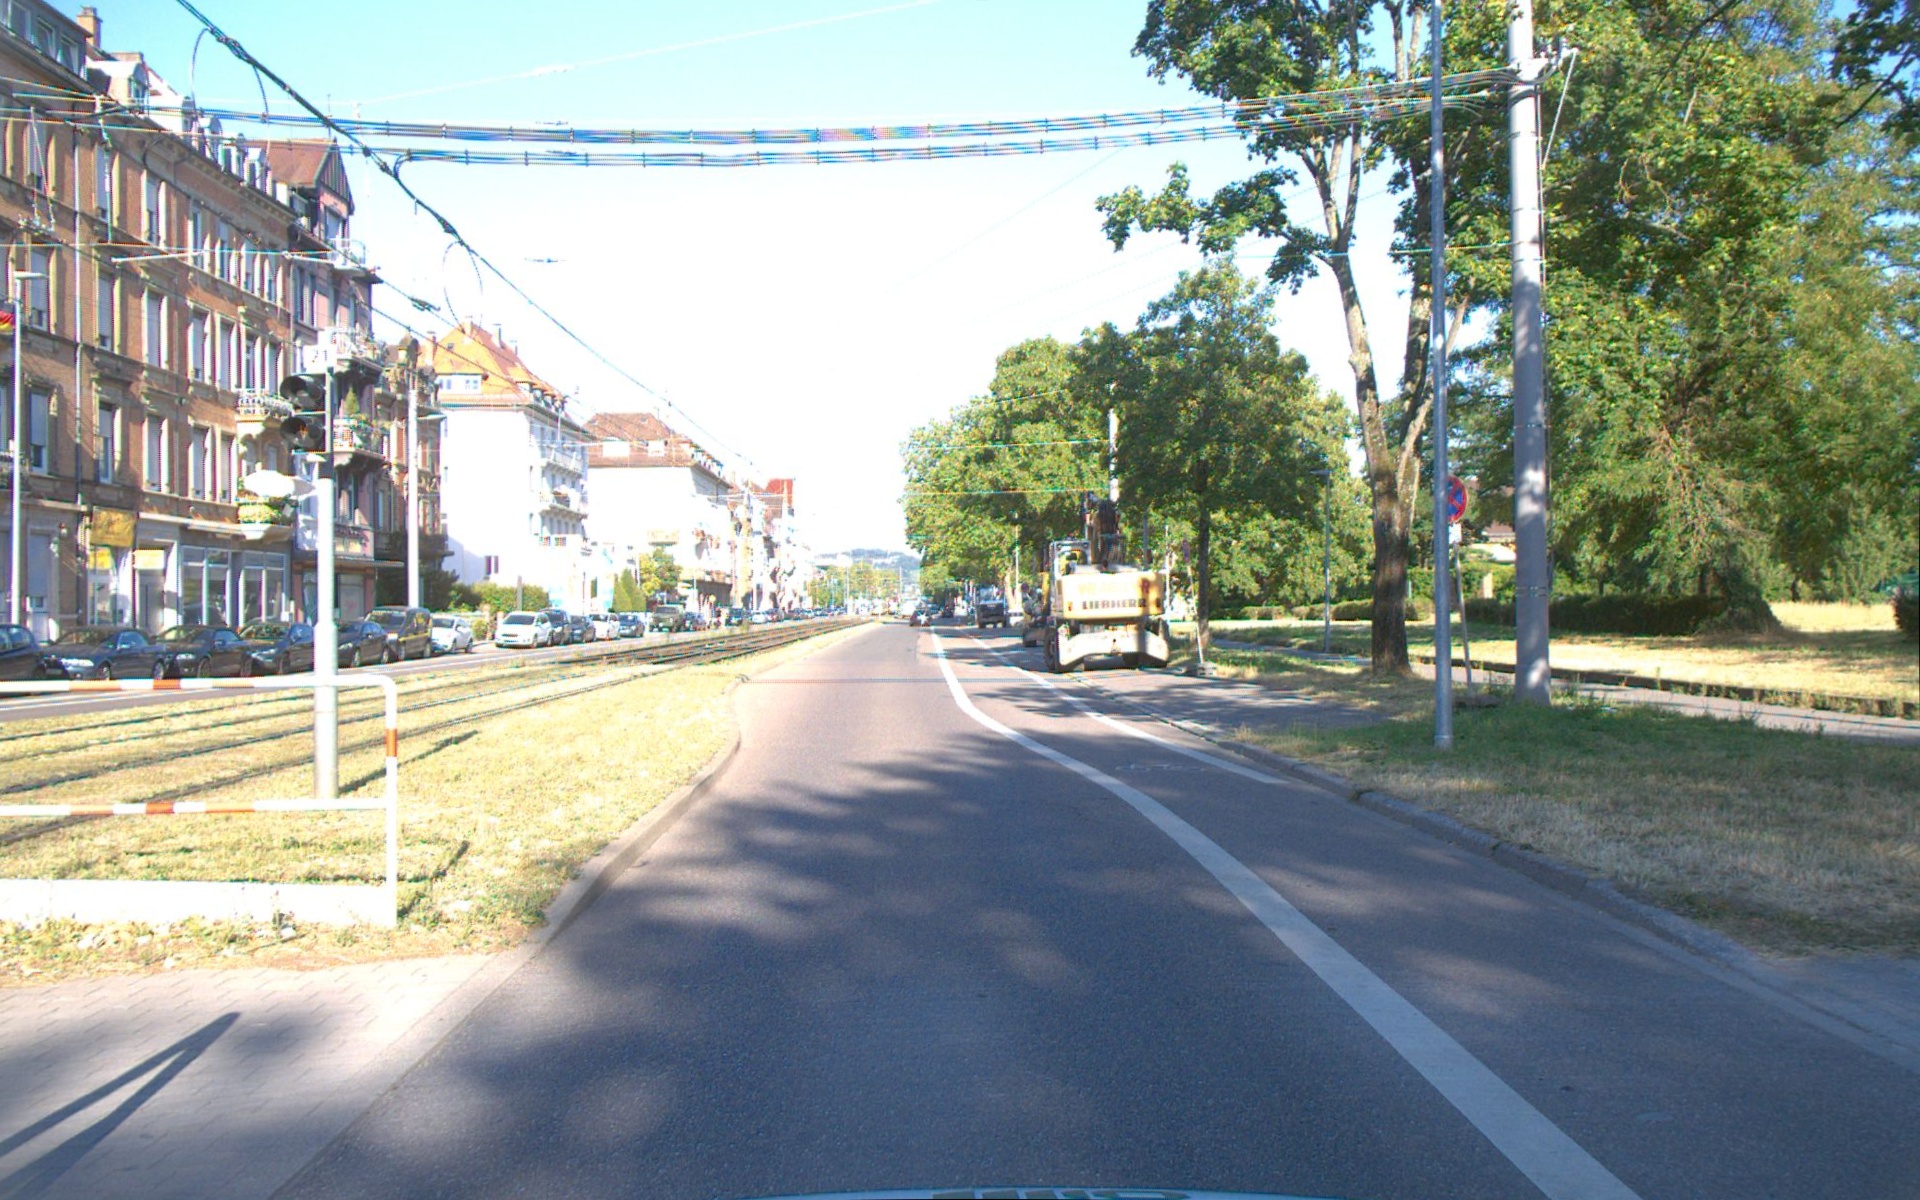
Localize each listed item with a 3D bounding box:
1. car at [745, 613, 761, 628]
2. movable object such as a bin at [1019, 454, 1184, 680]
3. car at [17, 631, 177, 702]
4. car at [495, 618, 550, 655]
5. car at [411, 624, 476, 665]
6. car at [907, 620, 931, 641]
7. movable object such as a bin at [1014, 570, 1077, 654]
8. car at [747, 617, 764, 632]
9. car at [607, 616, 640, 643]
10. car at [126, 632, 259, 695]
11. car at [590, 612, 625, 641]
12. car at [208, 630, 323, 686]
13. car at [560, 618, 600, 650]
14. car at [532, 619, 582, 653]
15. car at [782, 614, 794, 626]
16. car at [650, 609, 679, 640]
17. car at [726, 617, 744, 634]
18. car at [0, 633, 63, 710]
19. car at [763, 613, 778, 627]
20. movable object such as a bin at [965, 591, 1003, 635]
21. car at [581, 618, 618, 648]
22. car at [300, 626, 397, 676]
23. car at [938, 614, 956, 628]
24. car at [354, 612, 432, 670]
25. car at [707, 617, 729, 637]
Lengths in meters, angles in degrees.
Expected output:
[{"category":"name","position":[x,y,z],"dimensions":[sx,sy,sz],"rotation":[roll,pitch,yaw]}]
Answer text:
[{"category":"car","position":[-24.149,2.399,193.166],"dimensions":[1.496,1.638,3.222],"rotation":[1,0,-2]},{"category":"movable object such as a bin","position":[3.517,-0.741,43.628],"dimensions":[3.025,5.177,8.888],"rotation":[-3,-1,-2]},{"category":"car","position":[-19.912,1.495,38.340],"dimensions":[1.741,1.431,3.908],"rotation":[1,0,-2]},{"category":"car","position":[-20.824,1.712,78.880],"dimensions":[1.706,1.588,3.766],"rotation":[1,0,-2]},{"category":"car","position":[-20.581,1.741,66.040],"dimensions":[1.531,1.483,3.663],"rotation":[1,0,-2]},{"category":"car","position":[-3.514,2.545,140.961],"dimensions":[1.953,1.713,3.999],"rotation":[1,-1,-1]},{"category":"movable object such as a bin","position":[3.333,0.480,65.679],"dimensions":[1.929,3.065,4.794],"rotation":[-3,-1,-2]},{"category":"car","position":[-22.799,2.702,184.341],"dimensions":[1.496,1.588,3.222],"rotation":[1,0,-2]},{"category":"car","position":[-21.286,1.835,104.604],"dimensions":[1.496,1.588,3.222],"rotation":[1,0,-2]},{"category":"car","position":[-19.980,1.633,43.221],"dimensions":[1.741,1.431,3.908],"rotation":[1,0,-2]},{"category":"car","position":[-21.227,1.587,99.659],"dimensions":[1.496,1.588,3.222],"rotation":[1,0,-2]},{"category":"car","position":[-19.971,1.640,47.742],"dimensions":[1.741,1.431,3.908],"rotation":[1,0,-2]},{"category":"car","position":[-20.484,1.812,89.194],"dimensions":[1.496,1.588,3.222],"rotation":[1,0,-2]},{"category":"car","position":[-20.350,1.793,83.653],"dimensions":[1.706,1.588,3.766],"rotation":[1,0,-2]},{"category":"car","position":[-24.631,2.830,236.600],"dimensions":[1.496,1.638,3.222],"rotation":[1,0,-2]},{"category":"car","position":[-22.094,1.827,123.874],"dimensions":[1.625,2.177,3.524],"rotation":[1,0,-2]},{"category":"car","position":[-22.752,2.548,167.410],"dimensions":[1.496,1.588,3.222],"rotation":[1,0,-2]},{"category":"car","position":[-19.903,1.432,33.366],"dimensions":[1.739,1.492,3.530],"rotation":[1,-1,-2]},{"category":"car","position":[-23.525,2.539,205.593],"dimensions":[1.496,1.638,3.222],"rotation":[1,0,-2]},{"category":"movable object such as a bin","position":[1.722,0.952,120.840],"dimensions":[2.417,2.956,3.998],"rotation":[-4,-1,-2]},{"category":"car","position":[-20.819,1.879,95.720],"dimensions":[1.496,1.588,3.222],"rotation":[1,0,-2]},{"category":"car","position":[-19.749,1.633,53.562],"dimensions":[1.741,1.431,3.977],"rotation":[1,0,-2]},{"category":"car","position":[-1.799,2.894,227.556],"dimensions":[1.956,1.892,3.993],"rotation":[1,-1,-8]},{"category":"car","position":[-20.228,1.435,59.171],"dimensions":[1.531,1.886,3.898],"rotation":[1,0,-2]},{"category":"car","position":[-21.185,2.362,144.665],"dimensions":[1.496,1.588,3.222],"rotation":[1,0,-2]}]
